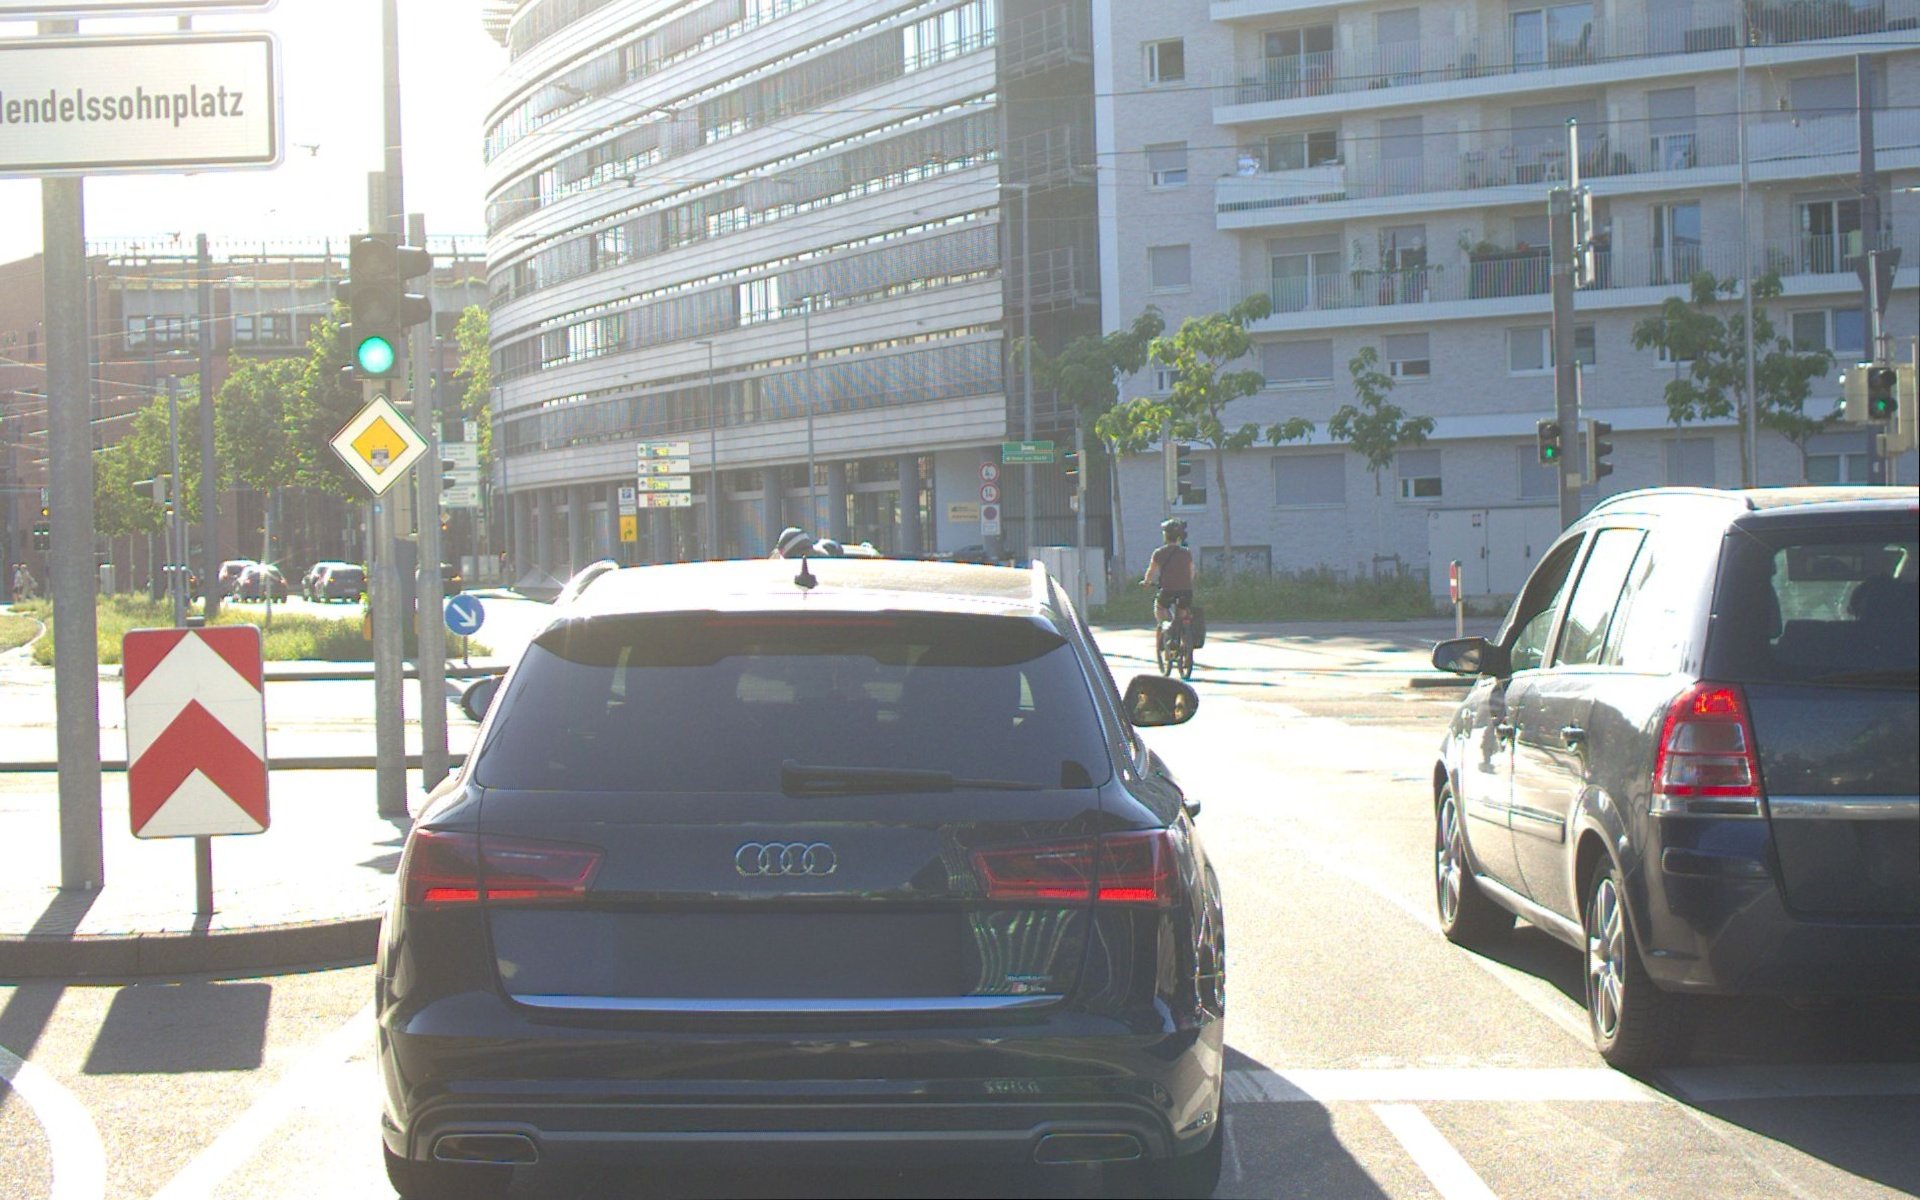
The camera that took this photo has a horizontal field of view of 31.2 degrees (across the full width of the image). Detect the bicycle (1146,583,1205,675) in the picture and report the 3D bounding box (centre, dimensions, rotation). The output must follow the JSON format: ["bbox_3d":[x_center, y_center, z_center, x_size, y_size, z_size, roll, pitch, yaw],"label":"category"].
[{"bbox_3d":[2.587,0.336,41.369,0.654,1.039,1.929,-1,1,3],"label":"bicycle"}]

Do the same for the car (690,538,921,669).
[{"bbox_3d":[-2.220,0.006,48.186,2.002,1.709,4.373,0,1,-20],"label":"car"}]

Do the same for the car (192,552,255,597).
[{"bbox_3d":[-29.924,-1.010,139.669,1.993,1.700,4.001,-2,0,-19],"label":"car"}]

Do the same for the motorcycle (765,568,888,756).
[{"bbox_3d":[-1.054,0.455,26.760,0.862,1.388,1.894,-1,1,-4],"label":"motorcycle"}]

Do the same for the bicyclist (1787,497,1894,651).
[{"bbox_3d":[9.946,-0.300,38.854,0.766,1.700,0.930,-2,1,-18],"label":"bicyclist"}]

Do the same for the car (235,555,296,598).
[{"bbox_3d":[-27.077,-0.905,133.956,1.993,1.590,4.001,-2,0,-16],"label":"car"}]

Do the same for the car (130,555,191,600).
[{"bbox_3d":[-32.358,-0.882,139.078,1.993,1.700,4.001,-2,0,-19],"label":"car"}]

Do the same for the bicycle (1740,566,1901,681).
[{"bbox_3d":[9.810,0.252,39.291,0.766,1.258,2.082,-2,1,-18],"label":"bicycle"}]

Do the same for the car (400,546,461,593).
[{"bbox_3d":[-22.143,-1.261,143.706,1.993,1.831,4.001,-2,0,-16],"label":"car"}]

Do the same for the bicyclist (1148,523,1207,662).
[{"bbox_3d":[2.616,-0.099,41.359,0.654,1.637,0.972,-1,1,3],"label":"bicyclist"}]

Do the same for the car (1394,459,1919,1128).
[{"bbox_3d":[2.558,0.470,10.872,1.745,1.690,4.261,1,1,-1],"label":"car"}]

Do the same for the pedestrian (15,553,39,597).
[{"bbox_3d":[-39.884,-1.061,146.917,0.902,1.818,0.829,-2,0,-17],"label":"pedestrian"}]

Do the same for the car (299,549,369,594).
[{"bbox_3d":[-23.943,-1.092,131.442,1.993,1.590,4.001,-2,0,-19],"label":"car"}]

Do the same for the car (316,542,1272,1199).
[{"bbox_3d":[-0.358,0.595,8.651,1.842,1.449,4.000,0,1,-1],"label":"car"}]

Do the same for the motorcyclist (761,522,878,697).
[{"bbox_3d":[-1.097,0.068,26.805,0.862,1.322,0.681,-1,1,-4],"label":"motorcyclist"}]
